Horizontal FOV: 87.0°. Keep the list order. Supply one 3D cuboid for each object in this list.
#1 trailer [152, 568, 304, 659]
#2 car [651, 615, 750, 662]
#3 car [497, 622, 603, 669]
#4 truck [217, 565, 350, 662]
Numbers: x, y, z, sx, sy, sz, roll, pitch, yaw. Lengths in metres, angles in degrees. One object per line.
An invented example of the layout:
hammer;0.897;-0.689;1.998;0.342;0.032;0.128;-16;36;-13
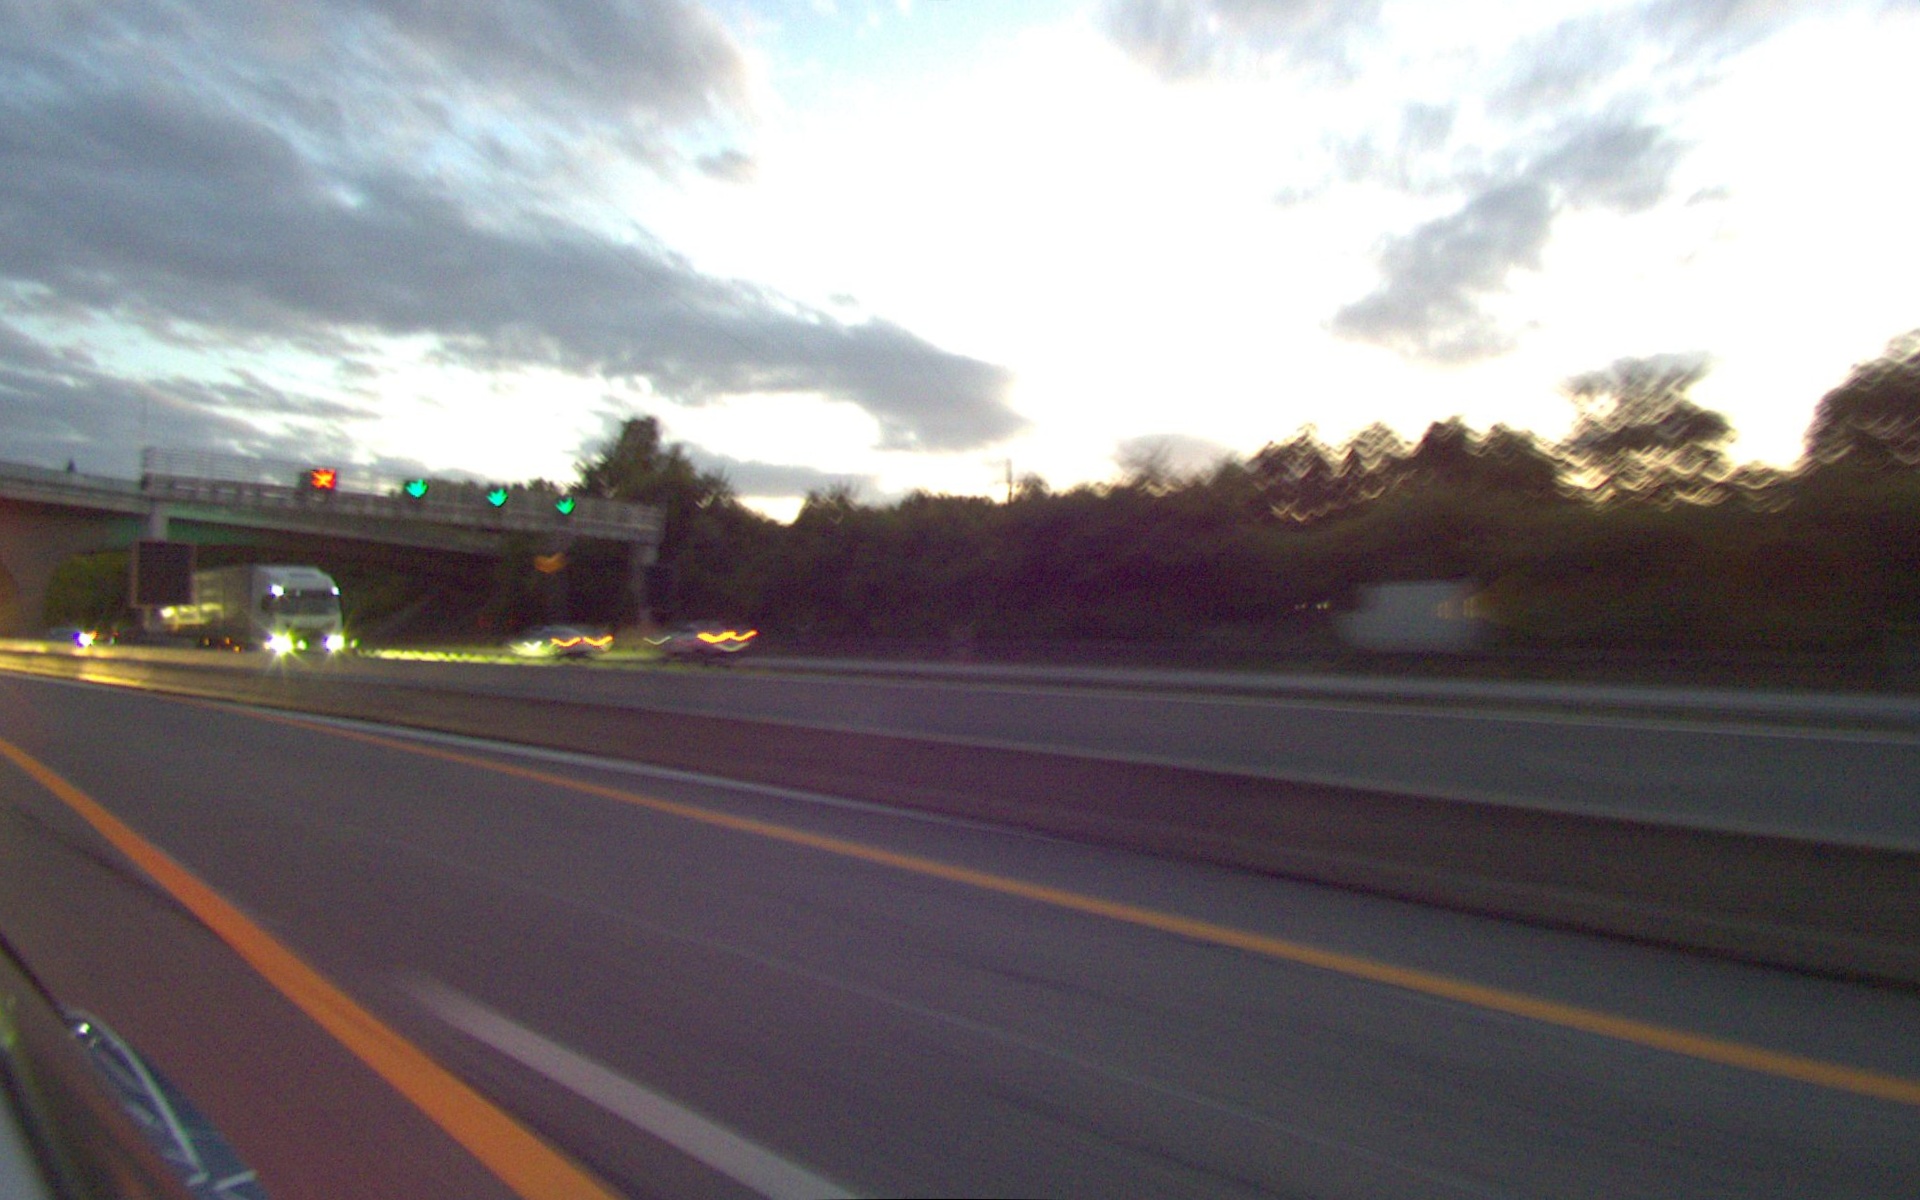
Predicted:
trailer;-34.469;0.630;47.361;11.822;3.811;2.771;-1;0;39
car;-10.375;1.508;40.308;3.941;1.727;1.887;-1;0;41
car;-16.297;1.747;40.113;4.837;1.673;1.812;-1;0;40
truck;-28.466;0.543;42.526;6.293;3.803;2.776;-1;0;38
